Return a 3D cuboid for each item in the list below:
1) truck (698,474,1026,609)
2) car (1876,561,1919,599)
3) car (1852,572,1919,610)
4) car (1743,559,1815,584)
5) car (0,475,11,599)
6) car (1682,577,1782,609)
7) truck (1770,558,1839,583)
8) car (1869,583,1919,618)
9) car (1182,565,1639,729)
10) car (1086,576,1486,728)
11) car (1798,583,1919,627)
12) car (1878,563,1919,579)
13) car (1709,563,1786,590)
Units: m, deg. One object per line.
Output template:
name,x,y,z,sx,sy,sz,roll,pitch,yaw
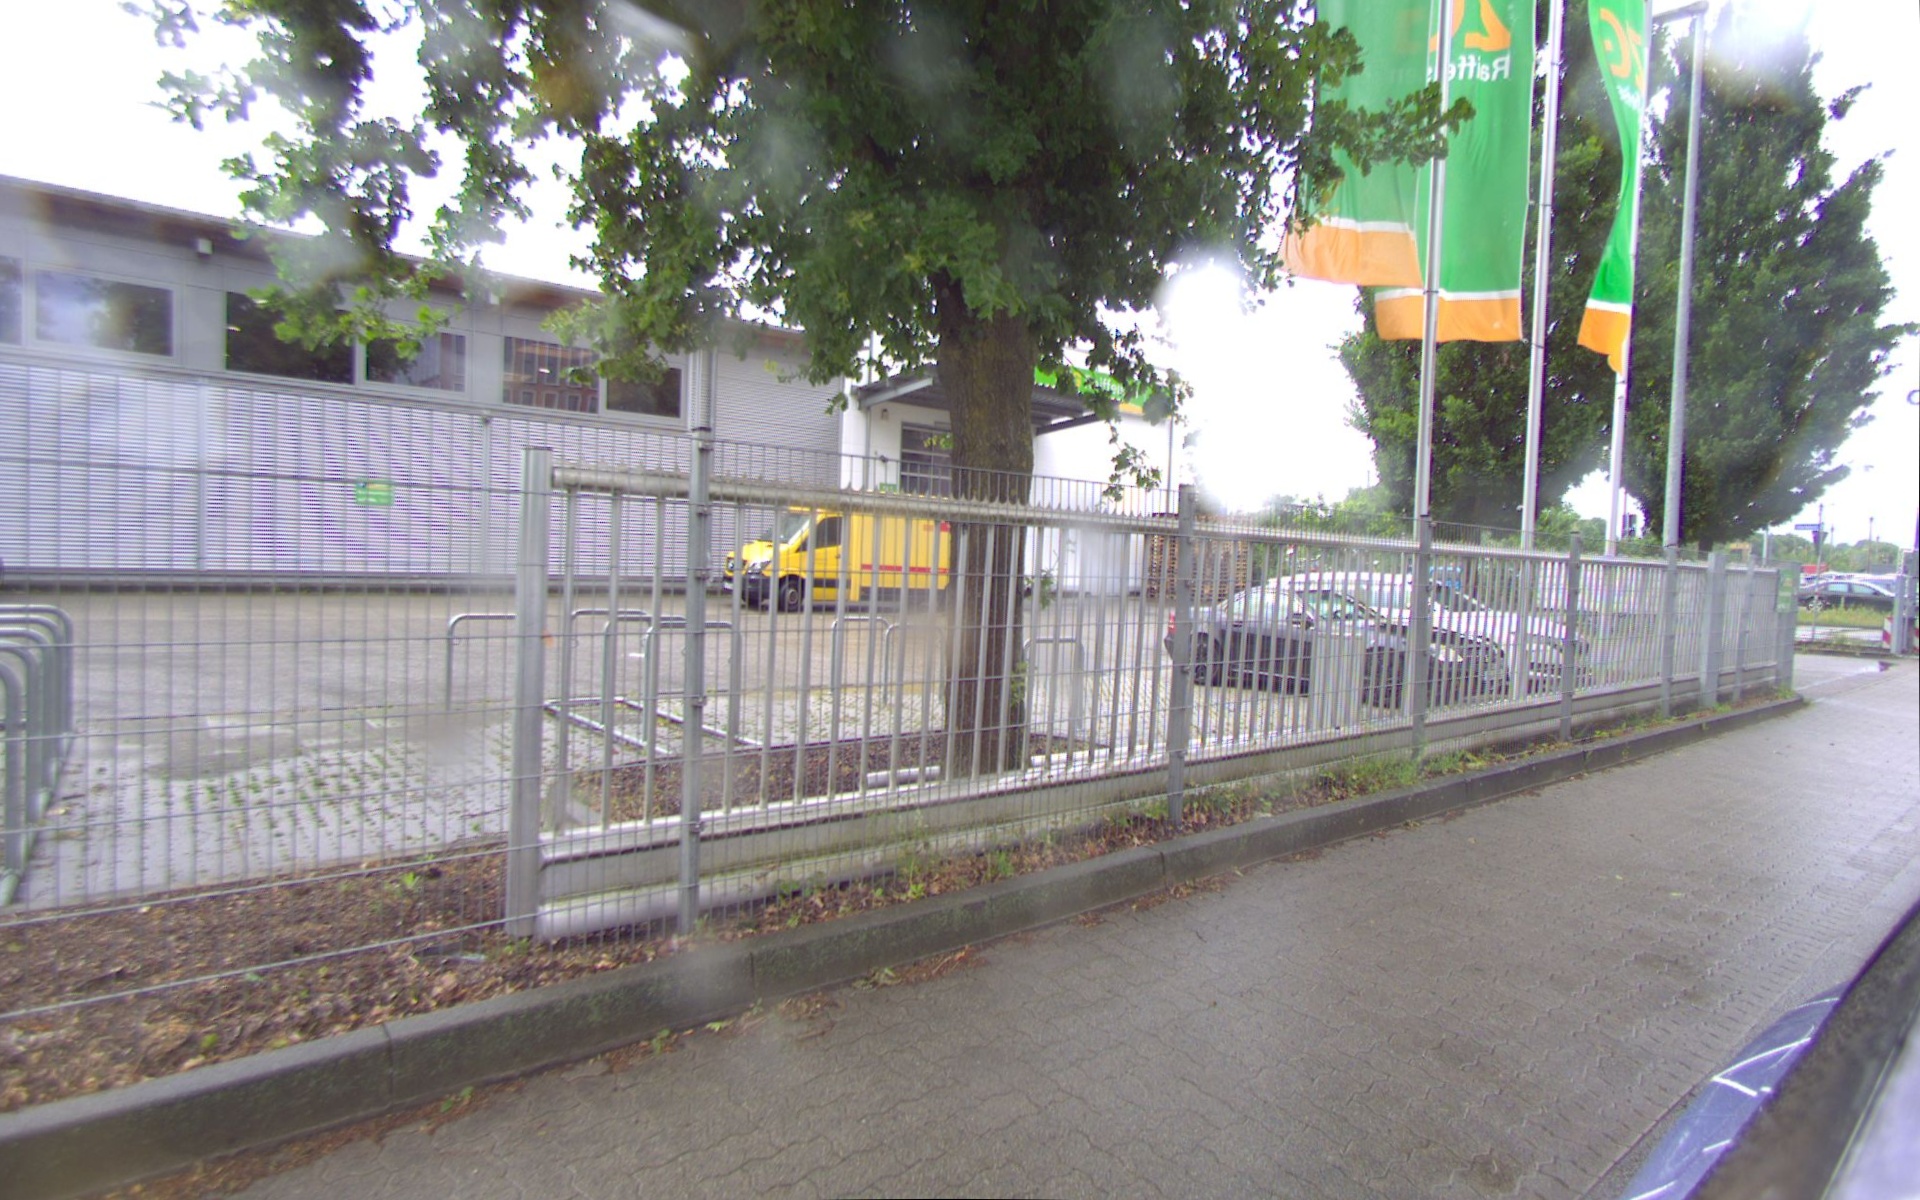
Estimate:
truck,-2.079,-1.262,23.321,7.276,2.691,2.310,0,4,-36
car,48.592,-0.913,49.876,2.087,1.755,4.701,-2,5,-34
car,41.728,-0.377,43.937,1.856,1.528,4.194,-2,4,-38
car,63.424,-2.226,78.410,1.753,1.602,3.919,-2,7,-35
car,-14.541,-0.865,13.687,2.025,1.854,4.377,1,4,-37
car,47.621,-0.466,62.502,1.986,1.737,4.624,-3,4,-44
truck,90.616,-3.193,108.686,2.114,2.396,5.304,-1,5,-39
car,45.843,0.044,47.620,1.787,1.535,4.308,-2,4,-38
car,5.189,0.397,12.283,1.857,1.480,4.714,0,3,-40
car,3.395,0.426,11.156,1.590,1.272,3.947,0,3,-40
car,38.465,0.192,43.001,4.220,1.416,1.861,8,7,43
car,102.896,-3.143,110.183,1.890,1.507,4.081,-2,6,-36
car,55.391,-1.690,71.236,1.892,1.501,3.846,-2,7,-35
